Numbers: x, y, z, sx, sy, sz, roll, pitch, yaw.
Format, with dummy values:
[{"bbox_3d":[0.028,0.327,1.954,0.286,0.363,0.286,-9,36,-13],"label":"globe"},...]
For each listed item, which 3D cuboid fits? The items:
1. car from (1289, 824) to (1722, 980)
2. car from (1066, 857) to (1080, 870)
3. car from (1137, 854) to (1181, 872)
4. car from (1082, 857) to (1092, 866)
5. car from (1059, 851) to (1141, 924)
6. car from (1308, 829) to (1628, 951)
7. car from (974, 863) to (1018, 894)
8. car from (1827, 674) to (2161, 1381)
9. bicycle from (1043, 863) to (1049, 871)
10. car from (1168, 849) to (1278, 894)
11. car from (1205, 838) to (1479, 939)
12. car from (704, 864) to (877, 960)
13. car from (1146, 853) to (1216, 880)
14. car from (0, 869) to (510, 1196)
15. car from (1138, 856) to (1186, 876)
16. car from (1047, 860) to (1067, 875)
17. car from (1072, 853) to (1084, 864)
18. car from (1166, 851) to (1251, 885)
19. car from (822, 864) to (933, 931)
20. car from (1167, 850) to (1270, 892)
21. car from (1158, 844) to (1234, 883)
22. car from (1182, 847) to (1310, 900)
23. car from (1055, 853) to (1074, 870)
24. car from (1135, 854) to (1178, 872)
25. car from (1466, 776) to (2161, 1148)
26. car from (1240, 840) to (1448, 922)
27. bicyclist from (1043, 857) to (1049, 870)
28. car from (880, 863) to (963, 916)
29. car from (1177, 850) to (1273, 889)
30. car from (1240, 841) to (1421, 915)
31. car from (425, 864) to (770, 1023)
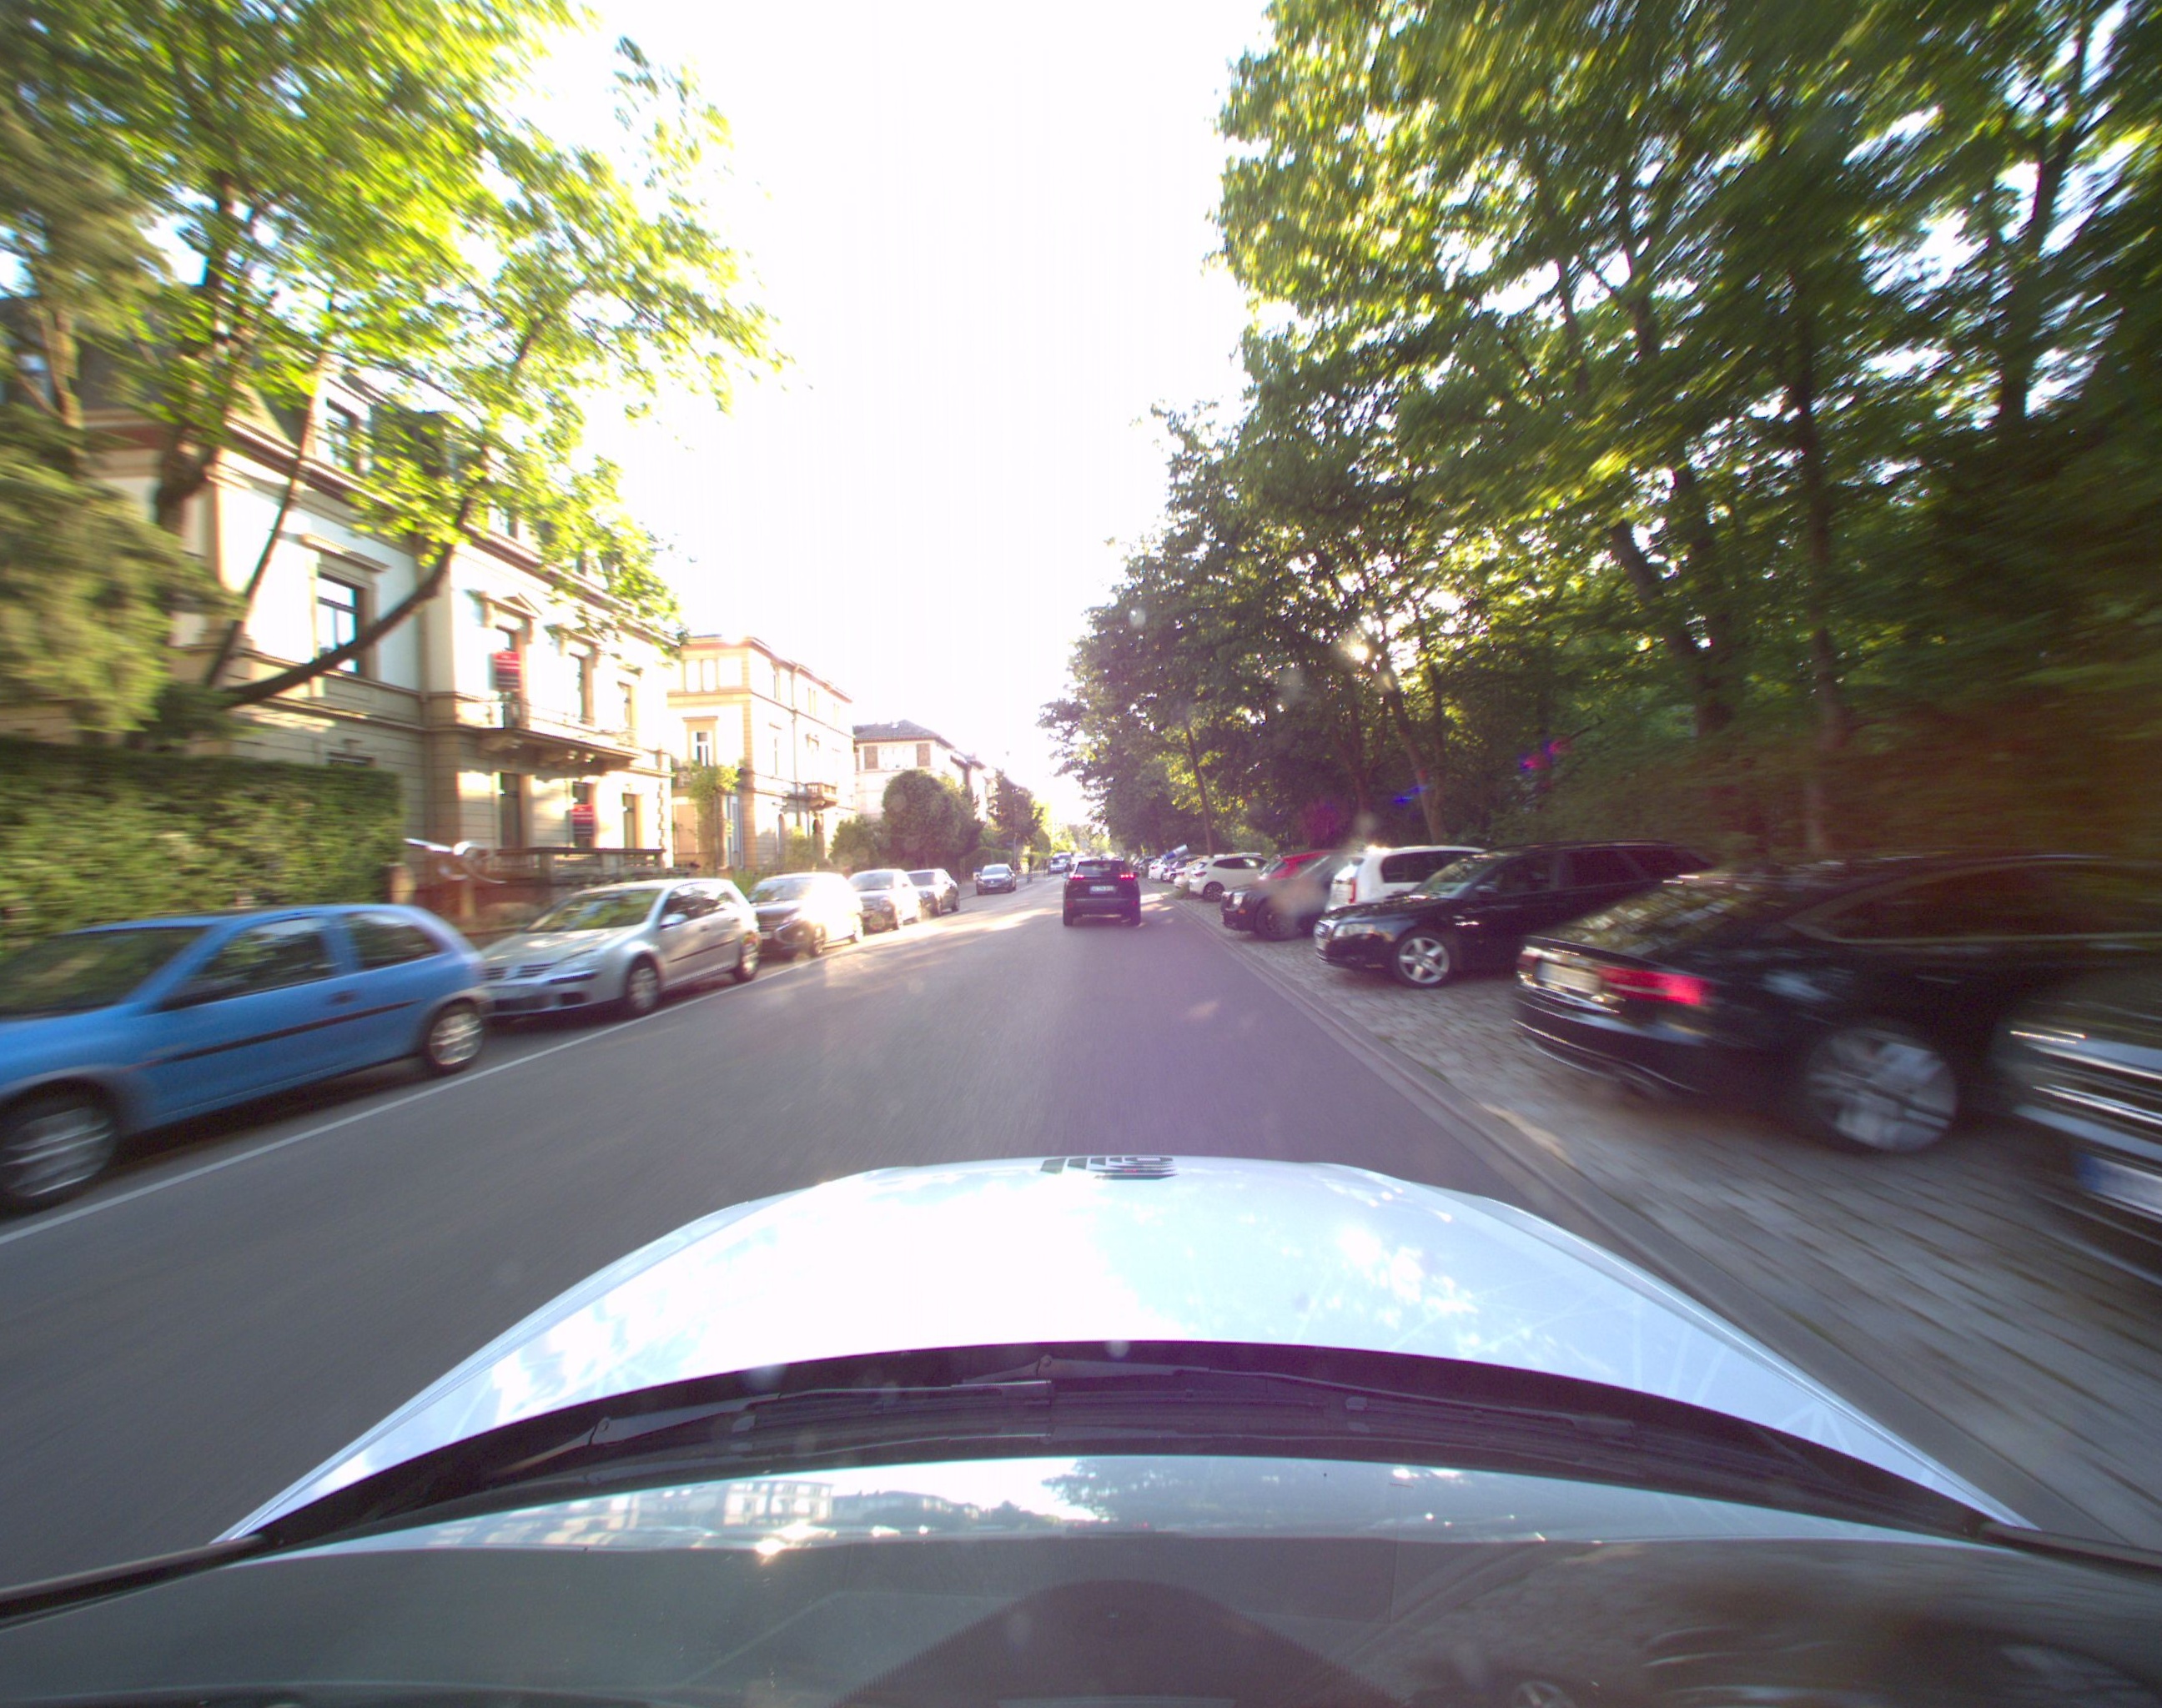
[{"bbox_3d":[4.744,0.536,9.630,4.138,1.449,1.733,-3,-1,5],"label":"car"},{"bbox_3d":[-1.218,1.477,125.747,1.986,1.816,4.001,-2,-1,1],"label":"car"},{"bbox_3d":[7.100,0.851,74.405,3.970,1.526,1.759,-2,-1,3],"label":"car"},{"bbox_3d":[1.254,1.518,167.445,1.986,1.816,4.001,-2,-1,1],"label":"car"},{"bbox_3d":[0.450,0.729,19.758,1.765,1.568,4.109,1,0,1],"label":"car"},{"bbox_3d":[5.474,0.510,11.957,3.790,1.449,1.828,-3,-1,5],"label":"car"},{"bbox_3d":[-4.360,1.224,42.207,1.746,1.414,3.764,-4,0,0],"label":"car"},{"bbox_3d":[4.809,0.314,1.928,4.229,1.789,1.884,-4,-1,1],"label":"car"},{"bbox_3d":[-4.780,1.761,111.708,0.690,1.015,2.048,-1,-1,-1],"label":"bicycle"},{"bbox_3d":[5.555,0.689,32.207,3.978,1.624,1.756,-1,-1,-3],"label":"car"},{"bbox_3d":[4.546,0.582,14.699,4.230,1.449,2.021,-3,-1,-1],"label":"car"},{"bbox_3d":[-5.321,0.996,15.521,1.607,1.466,4.038,-4,-1,2],"label":"car"},{"bbox_3d":[6.016,0.752,49.273,3.978,1.526,1.756,-1,-1,-3],"label":"car"},{"bbox_3d":[-5.804,0.911,5.127,1.608,1.485,3.743,-4,-1,1],"label":"car"},{"bbox_3d":[6.837,1.022,69.008,3.970,1.526,1.759,-2,-1,3],"label":"car"},{"bbox_3d":[-2.514,1.410,87.472,1.892,1.574,4.001,-2,-1,2],"label":"car"},{"bbox_3d":[-0.587,0.807,148.959,1.986,1.816,4.001,-2,-1,1],"label":"car"},{"bbox_3d":[6.479,0.710,41.574,3.978,1.624,1.756,-1,-1,-3],"label":"car"},{"bbox_3d":[-5.078,1.028,20.872,1.607,1.466,4.038,-2,-1,2],"label":"car"},{"bbox_3d":[5.765,0.717,34.475,3.978,1.624,1.756,-1,-1,-3],"label":"car"},{"bbox_3d":[6.529,0.539,46.494,3.978,2.089,1.756,-1,-1,-3],"label":"car"},{"bbox_3d":[5.393,0.631,26.936,3.798,1.449,1.824,-3,-1,-3],"label":"car"},{"bbox_3d":[-2.000,0.895,98.101,1.985,2.014,4.003,-2,-1,3],"label":"car"},{"bbox_3d":[7.073,0.839,76.878,3.970,1.623,1.759,-2,-1,3],"label":"car"},{"bbox_3d":[4.602,0.457,4.588,3.972,1.554,1.726,-4,-1,1],"label":"car"},{"bbox_3d":[5.531,0.554,17.478,3.798,1.449,1.875,-3,-1,-3],"label":"car"},{"bbox_3d":[-4.804,1.331,111.802,0.691,1.792,0.772,-1,-1,-1],"label":"bicyclist"},{"bbox_3d":[-4.910,1.060,25.577,1.607,1.466,4.038,-2,-1,2],"label":"car"},{"bbox_3d":[6.484,0.675,37.011,3.978,1.624,1.756,-1,-1,-3],"label":"car"},{"bbox_3d":[6.038,0.568,19.976,3.798,1.510,1.824,-3,-1,-3],"label":"car"},{"bbox_3d":[-5.458,0.891,9.898,1.607,1.466,4.038,-2,-1,2],"label":"car"}]
